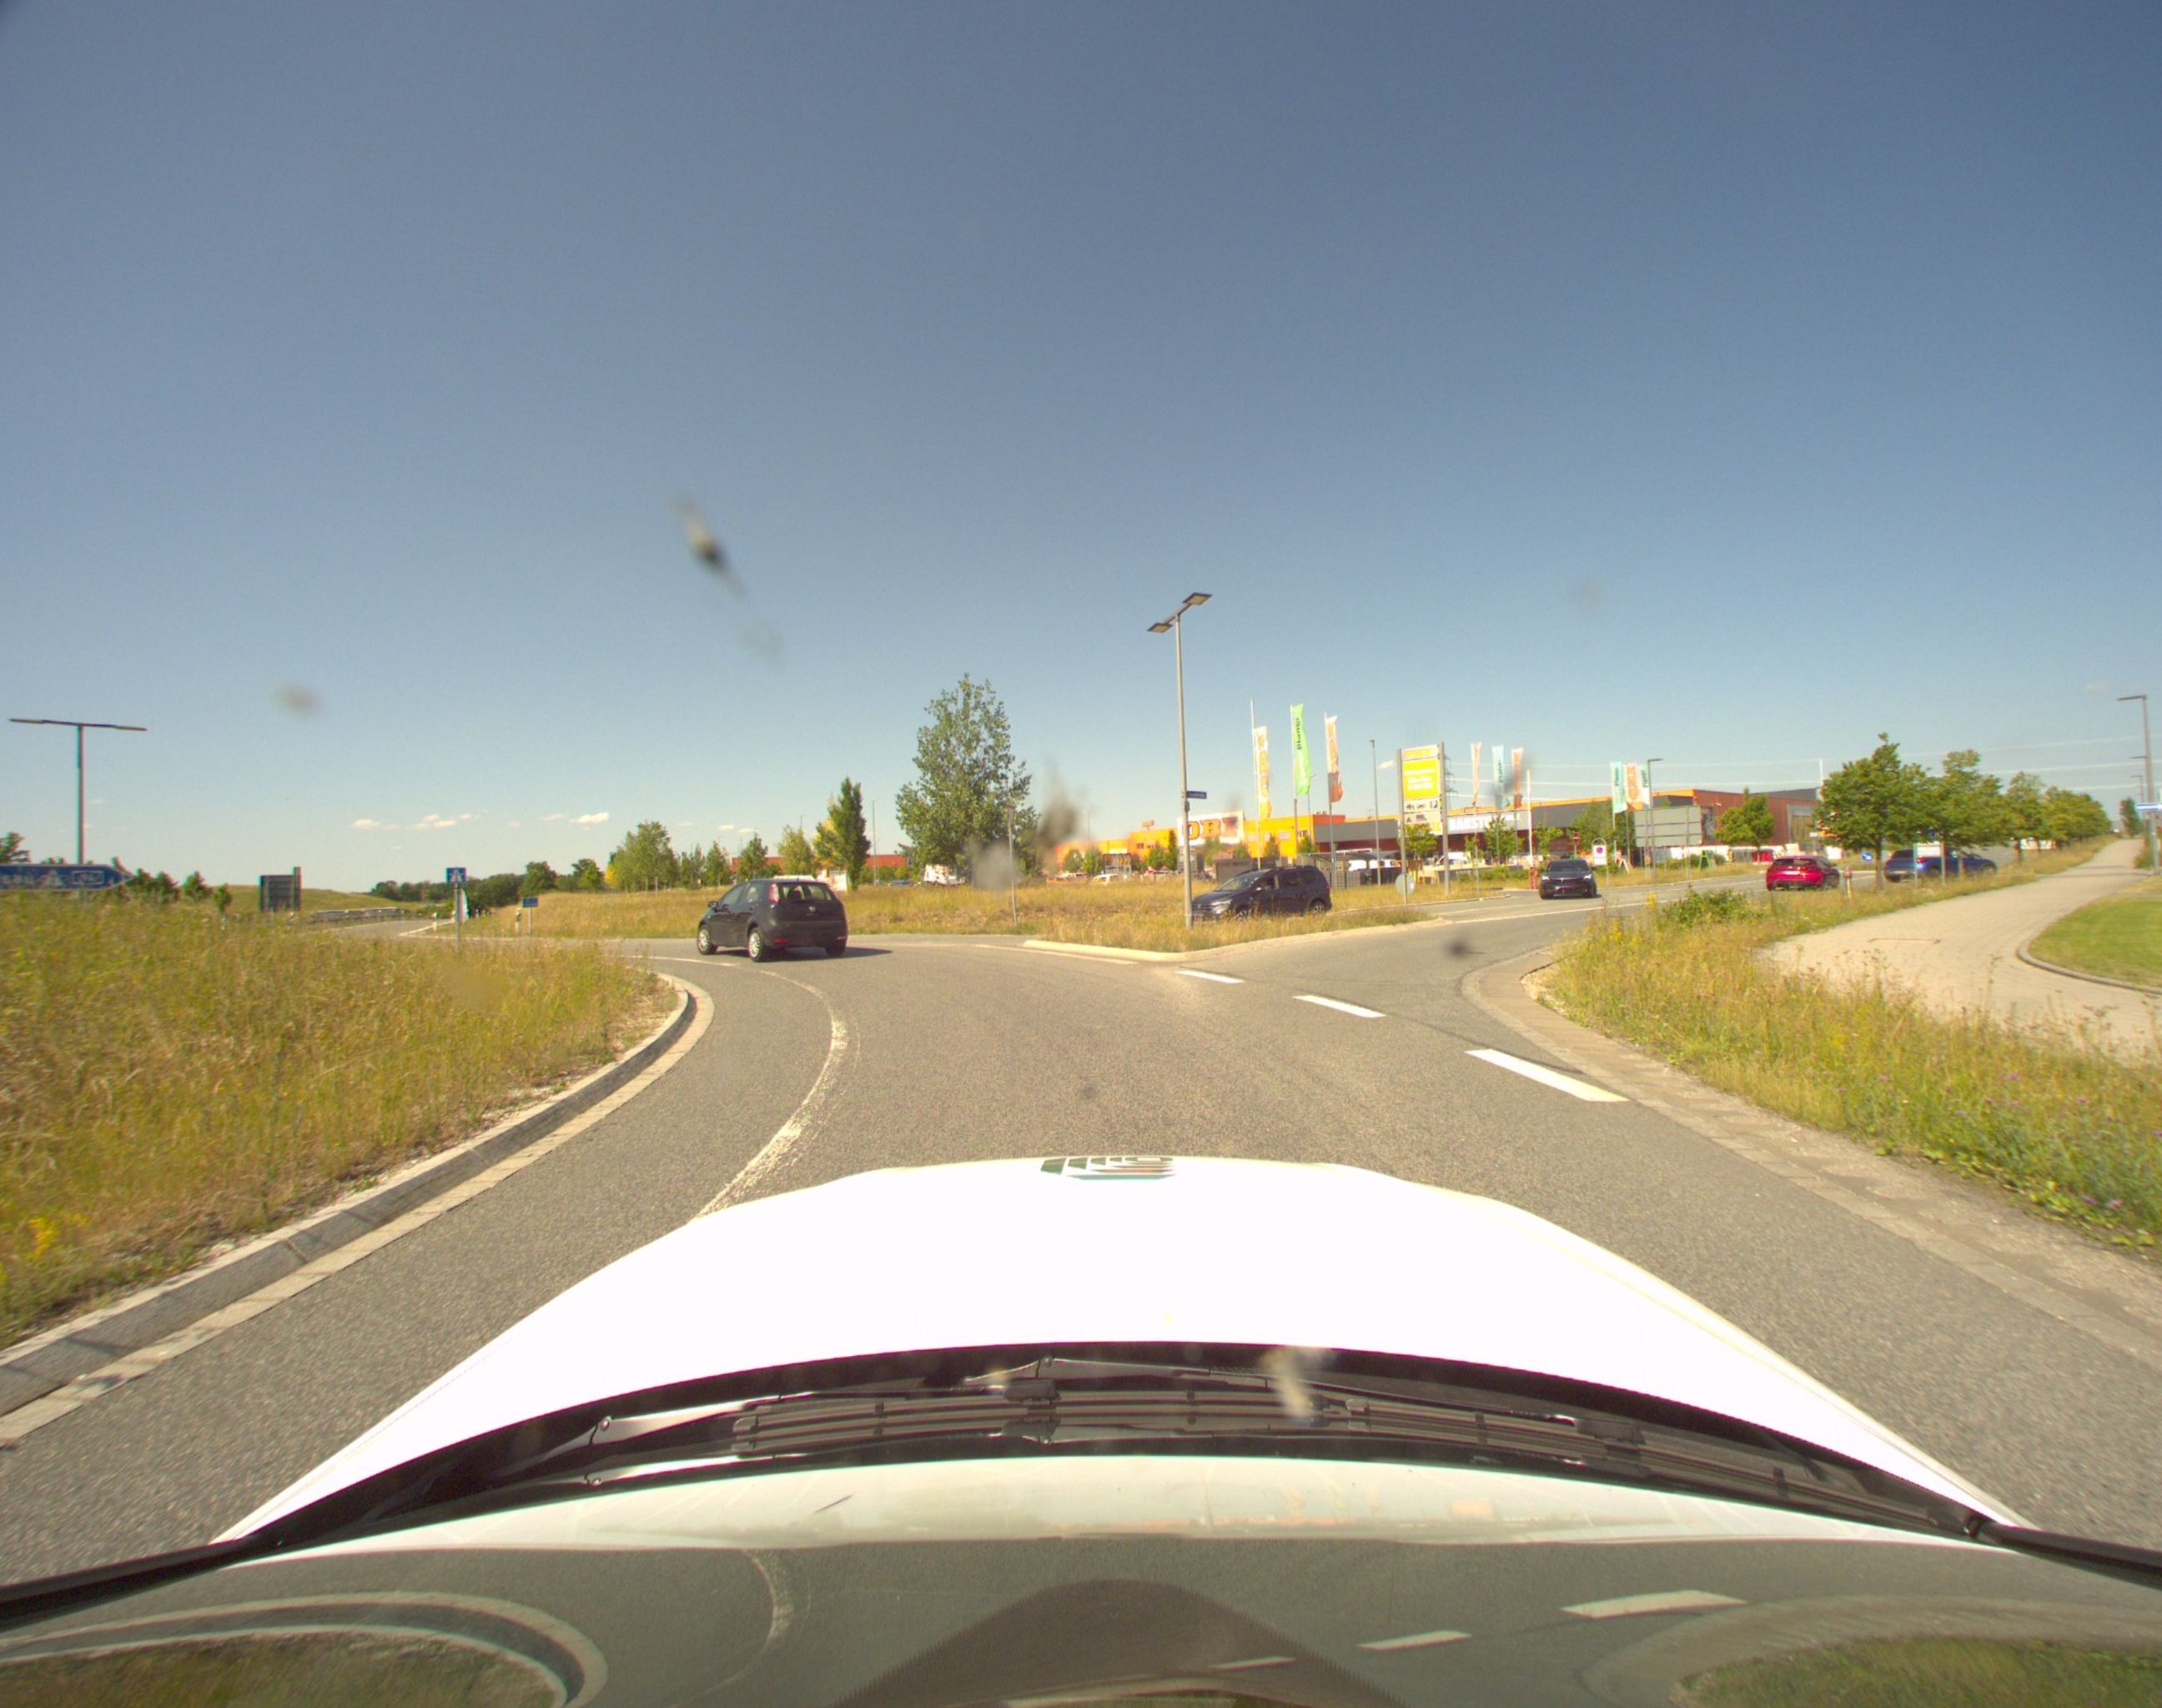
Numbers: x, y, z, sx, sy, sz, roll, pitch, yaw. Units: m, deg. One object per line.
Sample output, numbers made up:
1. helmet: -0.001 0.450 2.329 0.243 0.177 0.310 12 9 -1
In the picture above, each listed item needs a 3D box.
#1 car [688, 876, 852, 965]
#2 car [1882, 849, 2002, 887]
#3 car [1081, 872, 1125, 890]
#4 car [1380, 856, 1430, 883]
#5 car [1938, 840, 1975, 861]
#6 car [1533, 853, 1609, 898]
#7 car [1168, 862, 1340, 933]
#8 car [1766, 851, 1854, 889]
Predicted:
1. car: -6.126 1.213 15.810 1.654 1.488 3.856 1 -2 -43
2. car: 39.738 0.643 37.619 4.066 1.635 1.851 -1 -1 -10
3. car: 2.165 2.701 80.486 3.949 1.618 2.012 -4 -2 41
4. car: 23.550 1.153 59.179 3.792 1.841 1.681 1 -3 -38
5. car: 63.536 -0.260 59.101 3.367 1.440 1.497 -1 -1 -39
6. car: 20.132 0.865 33.347 2.051 1.627 4.726 -5 -3 38
7. car: 4.942 1.188 23.075 4.643 1.706 1.937 -1 -3 -32
8. car: 30.123 0.629 33.616 4.135 1.416 1.789 -1 -1 -35
